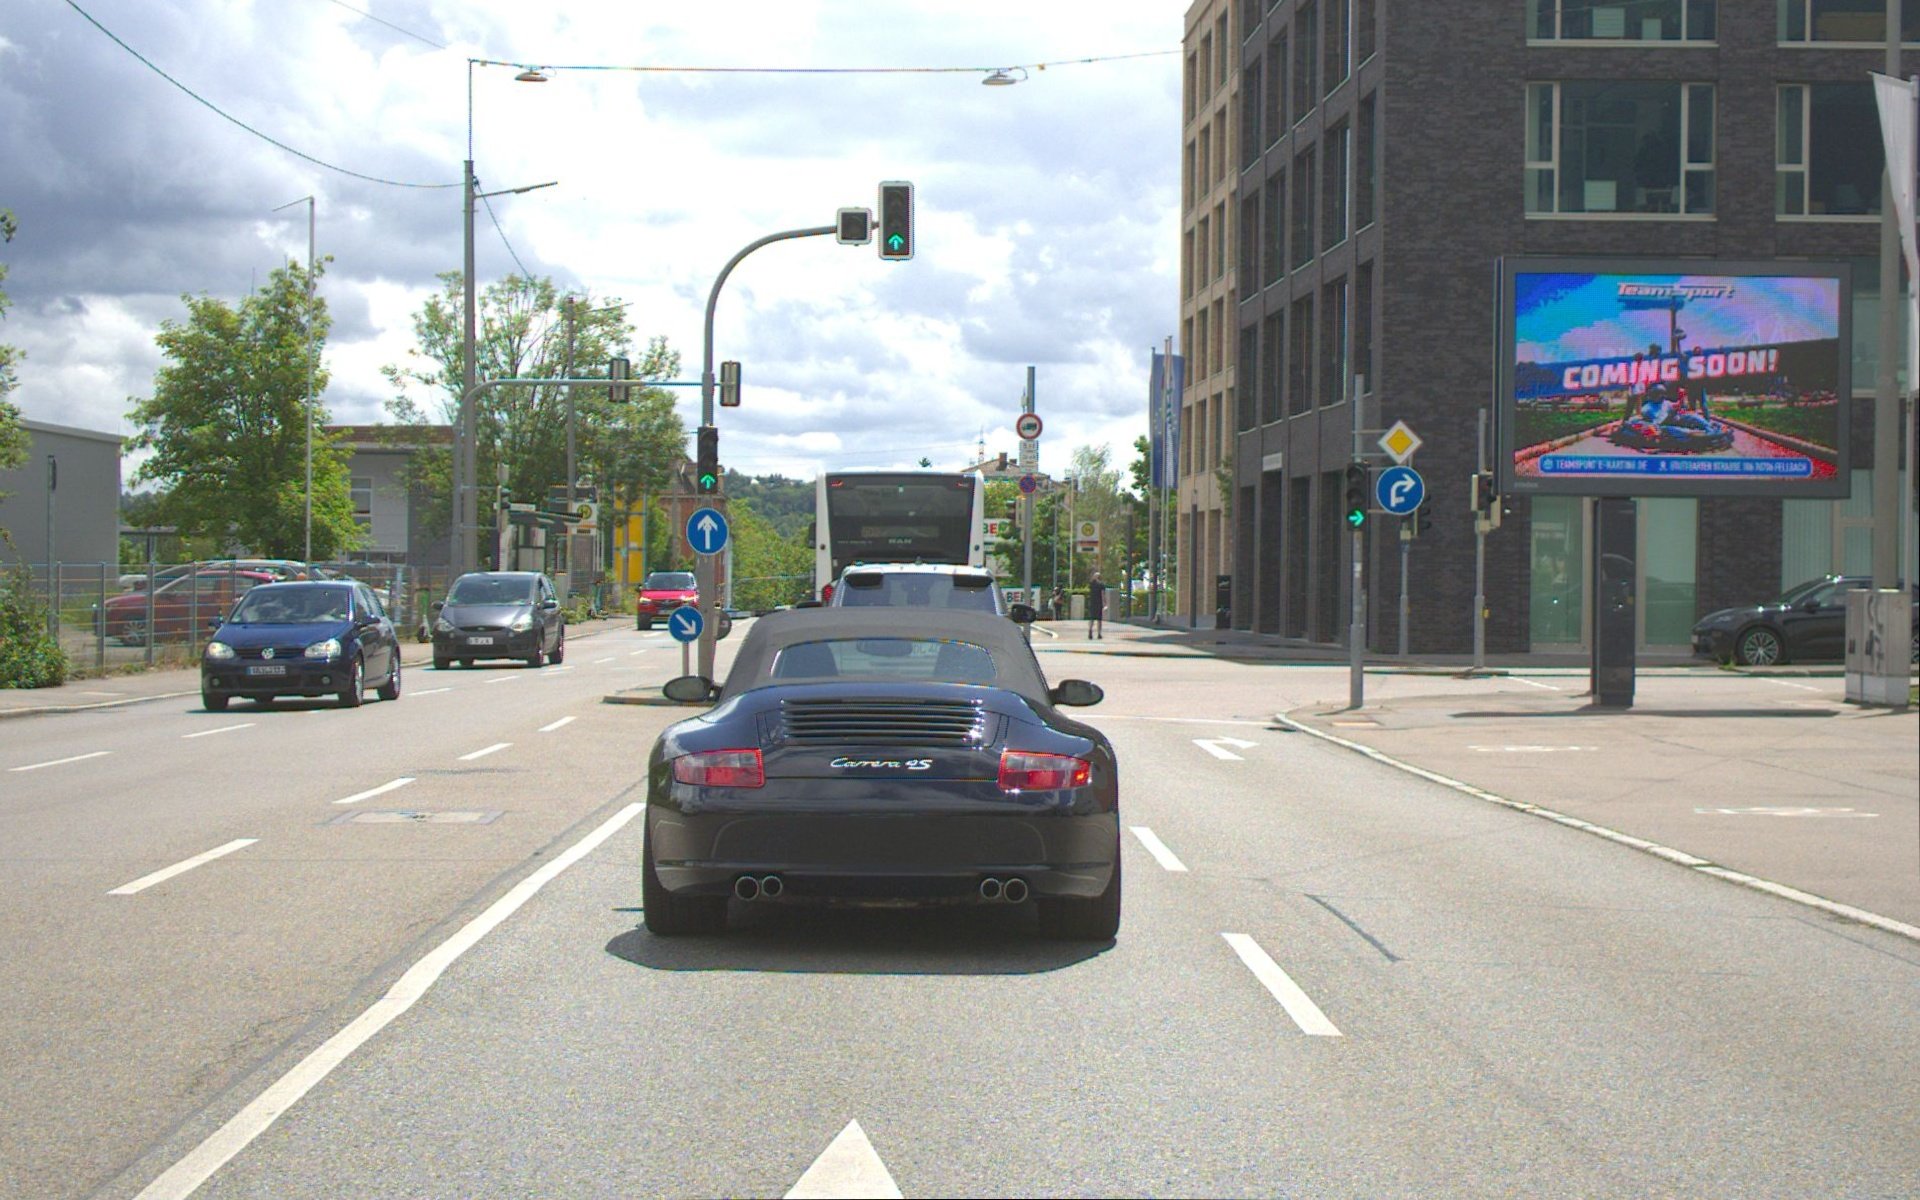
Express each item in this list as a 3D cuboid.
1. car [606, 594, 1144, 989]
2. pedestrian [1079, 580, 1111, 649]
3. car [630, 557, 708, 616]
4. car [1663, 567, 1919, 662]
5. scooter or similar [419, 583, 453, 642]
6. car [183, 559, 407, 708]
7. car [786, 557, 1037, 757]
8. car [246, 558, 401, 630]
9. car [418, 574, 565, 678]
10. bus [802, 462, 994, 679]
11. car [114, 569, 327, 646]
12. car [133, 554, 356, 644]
[{"bbox_3d":[-0.331,0.690,14.548,1.930,1.372,4.208,1,1,-1],"label":"car"},{"bbox_3d":[3.415,0.374,87.054,0.683,1.722,0.962,1,0,-2],"label":"pedestrian"},{"bbox_3d":[-8.103,-0.384,95.916,1.841,1.590,4.000,1,1,0],"label":"car"},{"bbox_3d":[14.858,0.245,60.197,4.639,1.613,2.000,0,0,-1],"label":"car"},{"bbox_3d":[-10.955,0.264,71.893,0.424,1.206,1.126,2,0,3],"label":"scooter or similar"},{"bbox_3d":[-7.652,0.350,39.903,1.856,1.612,4.000,1,1,-1],"label":"car"},{"bbox_3d":[-0.492,0.444,29.585,1.930,1.577,4.208,1,0,-4],"label":"car"},{"bbox_3d":[-18.202,-0.158,98.451,4.275,2.007,2.141,0,-1,-8],"label":"car"},{"bbox_3d":[-7.994,0.411,59.016,1.911,1.696,4.625,1,1,-1],"label":"car"},{"bbox_3d":[-0.935,-0.496,57.061,2.802,3.187,12.196,1,1,0],"label":"bus"},{"bbox_3d":[-13.917,0.132,64.895,3.851,1.414,1.903,0,0,-10],"label":"car"},{"bbox_3d":[-14.046,-0.026,67.671,4.102,1.729,2.000,0,0,-5],"label":"car"}]
